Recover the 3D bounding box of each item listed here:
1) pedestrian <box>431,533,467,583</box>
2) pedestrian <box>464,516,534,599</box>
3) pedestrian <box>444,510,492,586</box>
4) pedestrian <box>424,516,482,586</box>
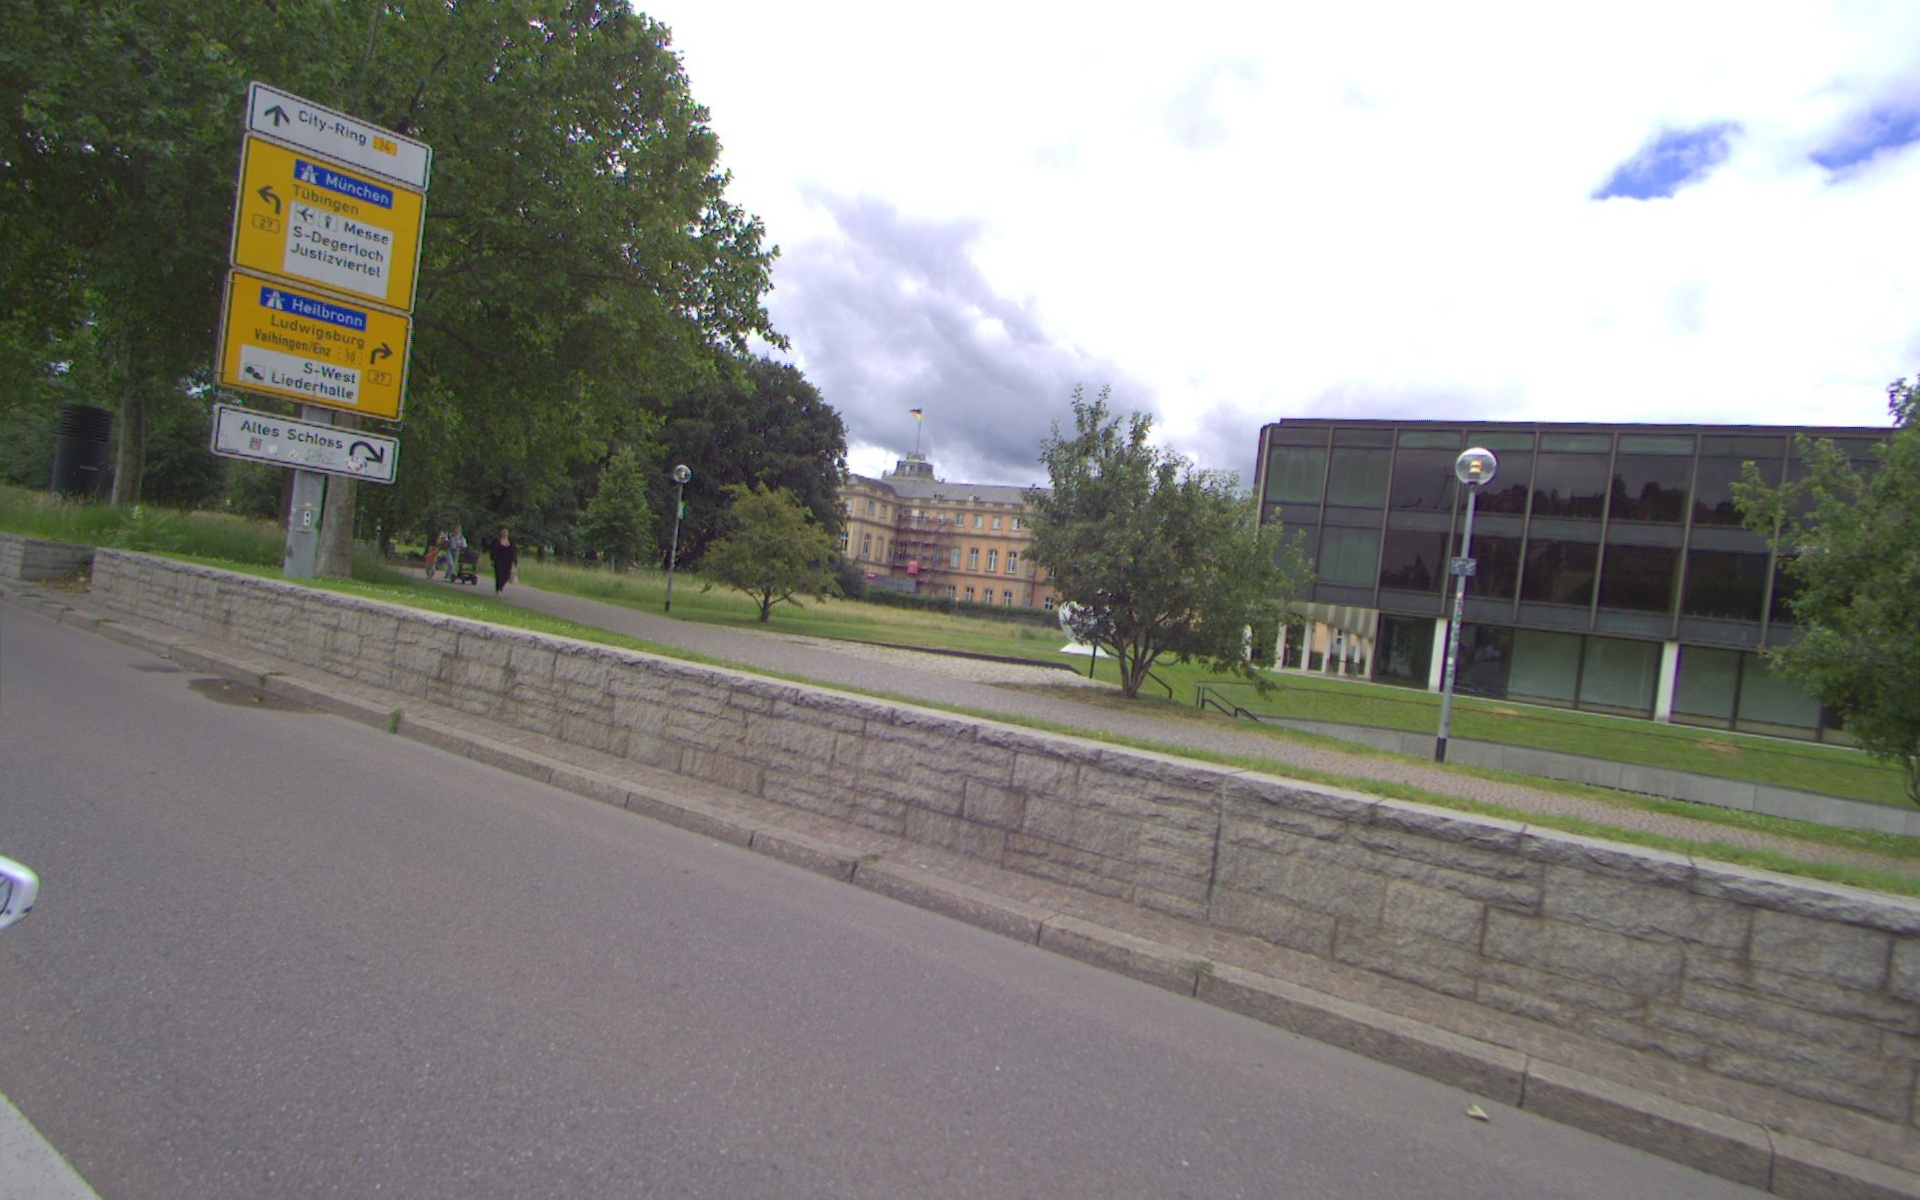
[{"bbox_3d":[-14.896,-1.211,29.304,0.533,1.339,0.583,6,-3,30],"label":"pedestrian"},{"bbox_3d":[-10.907,-1.005,23.807,0.952,1.752,0.898,7,-2,30],"label":"pedestrian"},{"bbox_3d":[-14.029,-1.487,28.683,0.917,2.036,0.572,6,-2,31],"label":"pedestrian"},{"bbox_3d":[-14.777,-1.432,29.316,1.016,1.856,0.996,5,-3,42],"label":"pedestrian"}]
